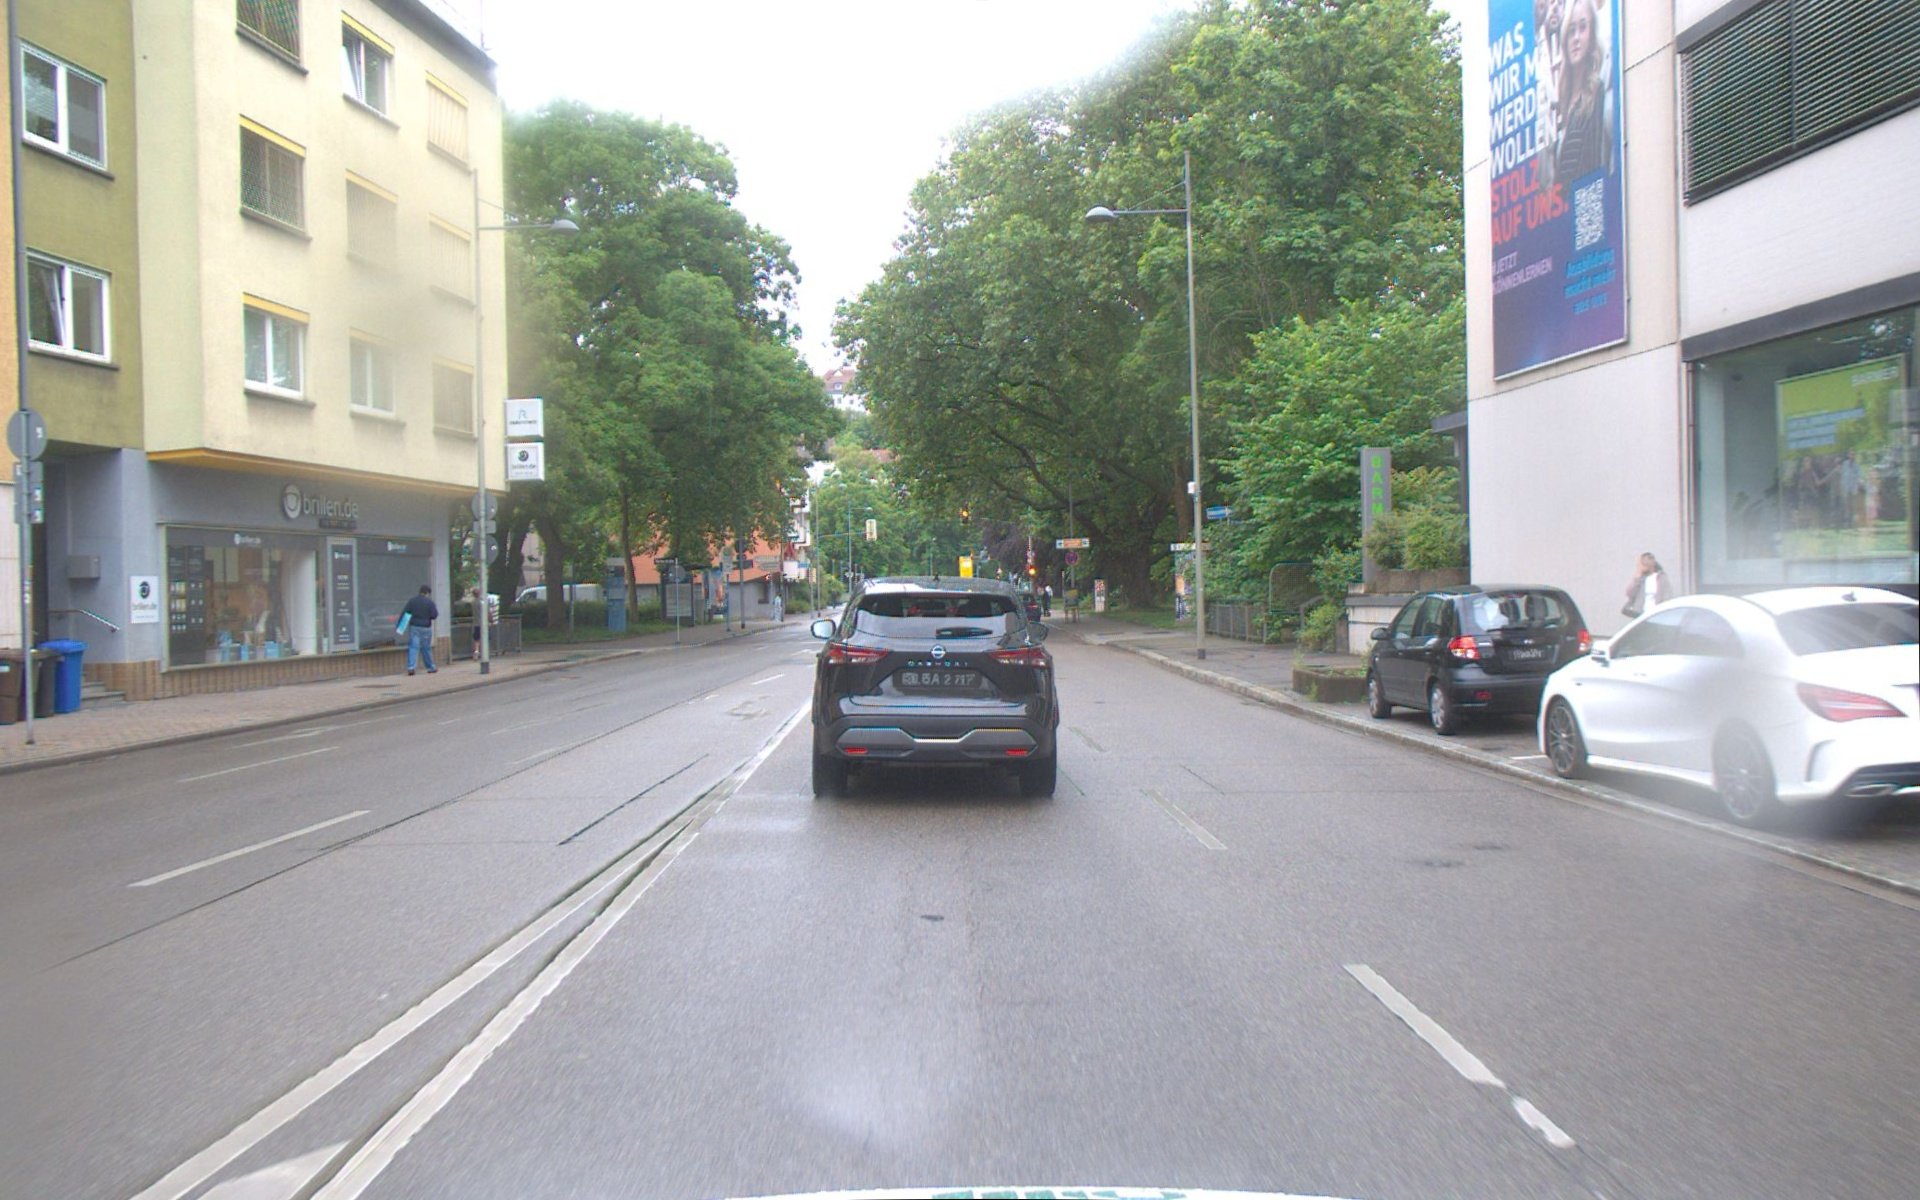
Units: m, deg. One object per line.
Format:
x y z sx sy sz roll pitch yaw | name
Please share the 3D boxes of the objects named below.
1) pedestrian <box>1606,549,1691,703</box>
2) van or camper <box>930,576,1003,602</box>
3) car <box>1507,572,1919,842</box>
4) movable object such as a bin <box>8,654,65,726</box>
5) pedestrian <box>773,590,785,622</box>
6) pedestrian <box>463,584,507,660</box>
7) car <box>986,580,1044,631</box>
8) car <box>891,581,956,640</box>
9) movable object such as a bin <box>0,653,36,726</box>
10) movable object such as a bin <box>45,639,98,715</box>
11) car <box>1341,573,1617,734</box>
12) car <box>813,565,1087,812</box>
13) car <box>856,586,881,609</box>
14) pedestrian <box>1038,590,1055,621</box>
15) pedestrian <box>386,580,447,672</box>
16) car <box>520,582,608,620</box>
8.207 0.305 19.740 0.601 1.767 0.680 -3 0 -8 | pedestrian
0.940 -1.635 244.493 10.710 3.619 3.183 1 0 -2 | van or camper
5.559 0.570 11.471 1.739 1.425 4.577 -3 0 -3 | car
-12.307 1.193 22.047 0.444 0.916 0.503 -1 0 6 | movable object such as a bin
-10.275 0.324 93.917 0.654 1.822 0.720 1 0 -8 | pedestrian
-10.988 0.499 38.289 0.782 1.718 0.817 -1 0 -2 | pedestrian
2.131 0.233 65.039 1.907 1.848 3.998 -3 -1 -2 | car
-1.141 0.346 53.148 1.906 1.714 4.000 -3 -1 0 | car
-12.375 1.159 21.456 0.444 0.916 0.503 -1 0 6 | movable object such as a bin
-12.409 1.071 23.112 0.390 1.024 0.545 -1 0 6 | movable object such as a bin
5.526 0.510 18.139 1.680 1.467 4.081 -3 0 0 | car
-0.210 0.580 13.187 1.857 1.657 3.997 0 0 -4 | car
-7.552 -0.245 136.234 1.783 1.827 3.866 1 1 0 | car
5.095 0.319 97.129 0.663 1.822 0.710 0 0 -43 | pedestrian
-11.003 0.518 33.493 0.847 1.819 0.875 1 0 5 | pedestrian
-18.747 0.040 78.365 3.756 1.764 1.878 1 0 -3 | car
